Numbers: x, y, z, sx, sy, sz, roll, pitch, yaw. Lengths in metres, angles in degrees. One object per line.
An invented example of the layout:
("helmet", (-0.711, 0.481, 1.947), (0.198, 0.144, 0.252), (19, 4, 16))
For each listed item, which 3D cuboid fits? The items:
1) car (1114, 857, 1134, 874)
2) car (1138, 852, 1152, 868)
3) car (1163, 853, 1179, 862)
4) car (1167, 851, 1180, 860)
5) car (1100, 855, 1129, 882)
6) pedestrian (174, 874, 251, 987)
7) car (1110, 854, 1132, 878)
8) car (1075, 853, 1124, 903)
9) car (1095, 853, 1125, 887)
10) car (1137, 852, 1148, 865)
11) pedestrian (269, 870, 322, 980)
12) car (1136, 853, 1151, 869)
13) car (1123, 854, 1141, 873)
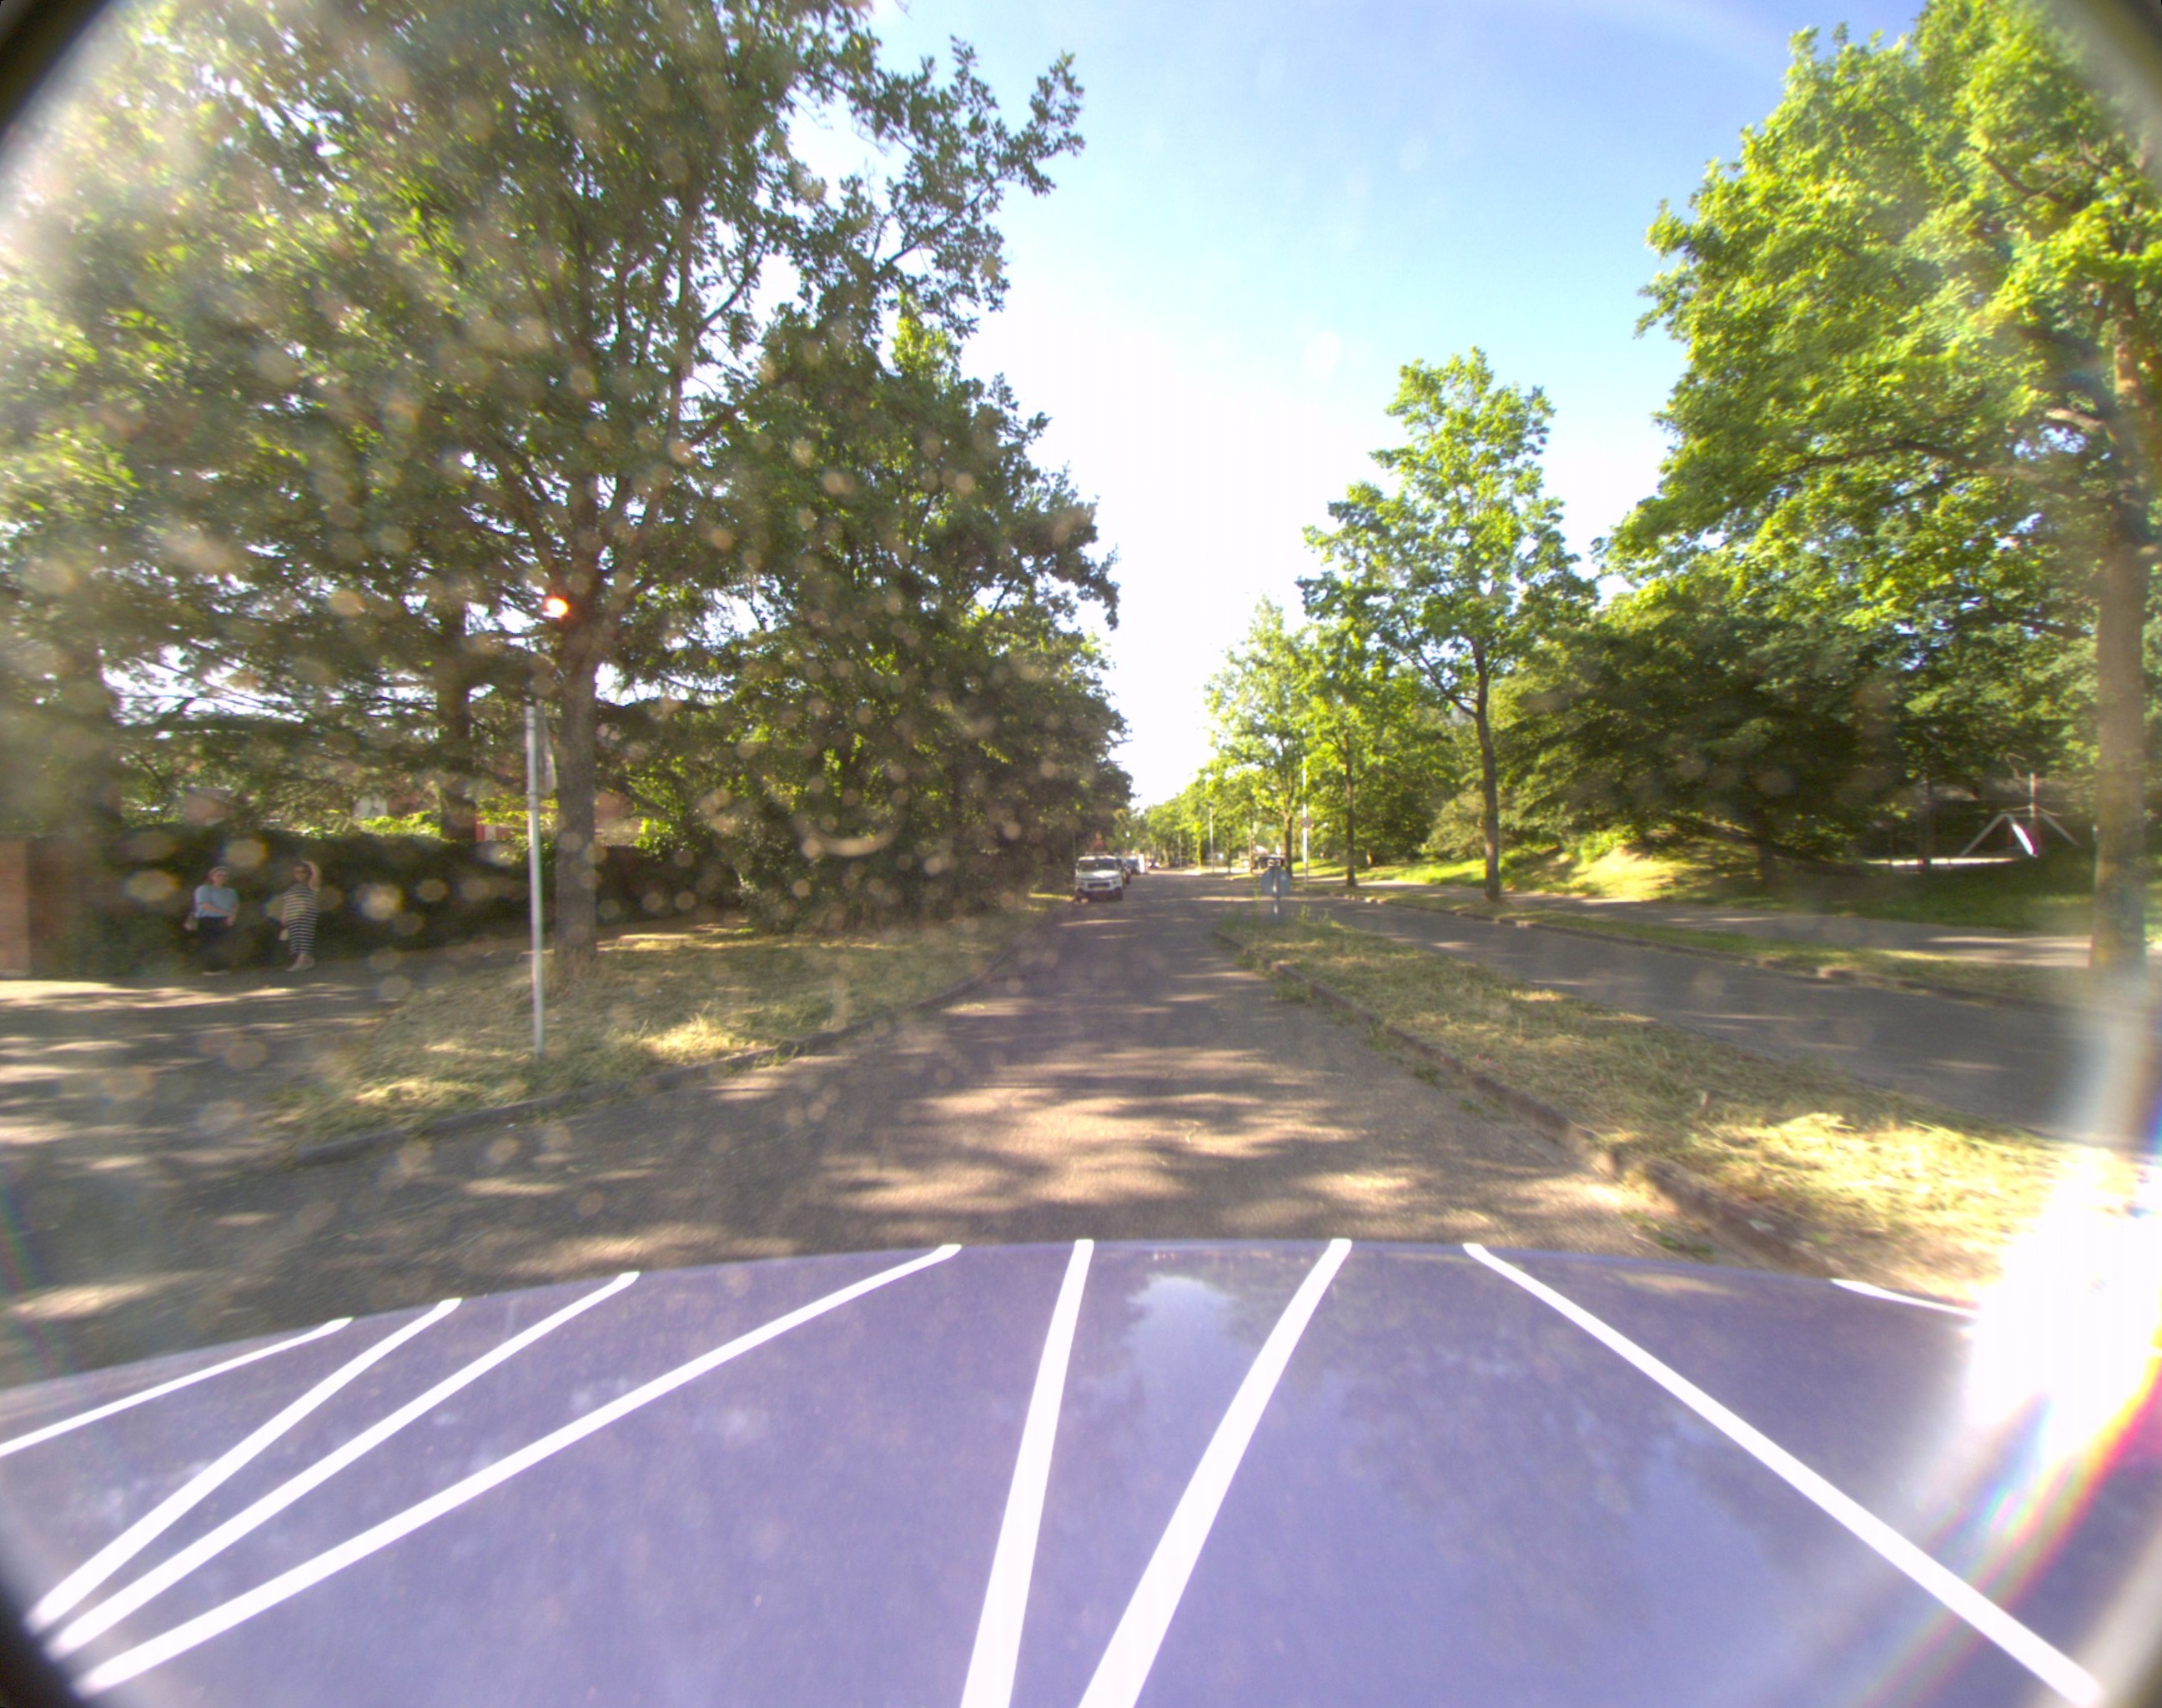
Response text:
("car", (3.729, 0.991, 65.727), (1.499, 1.351, 3.468), (-2, 0, 6))
("car", (7.331, 0.667, 86.950), (1.449, 1.644, 3.721), (-2, 0, 6))
("car", (14.657, 0.572, 123.439), (1.999, 1.359, 3.999), (-1, 1, -2))
("car", (17.334, 0.295, 142.412), (1.998, 1.574, 4.000), (-1, 1, 2))
("car", (2.215, 0.916, 49.272), (1.772, 1.629, 3.754), (-2, 0, 4))
("pedestrian", (-12.123, 1.051, 10.614), (0.396, 1.512, 0.538), (-1, 1, 3))
("car", (2.930, 0.870, 55.107), (1.499, 1.629, 3.754), (-2, 0, 4))
("car", (0.756, 0.889, 30.475), (1.754, 1.739, 4.634), (-2, 0, 1))
("car", (1.644, 0.855, 41.998), (1.499, 1.744, 3.803), (-2, 0, 4))
("car", (8.518, 0.583, 105.326), (1.421, 1.644, 3.911), (-2, 0, 6))
("pedestrian", (-11.536, 1.024, 11.159), (0.537, 1.552, 0.397), (0, 1, 30))
("car", (6.750, 0.773, 81.700), (1.449, 1.644, 3.721), (-2, 0, 6))
("car", (4.880, 0.902, 71.984), (1.499, 1.644, 4.093), (-2, 0, 6))
